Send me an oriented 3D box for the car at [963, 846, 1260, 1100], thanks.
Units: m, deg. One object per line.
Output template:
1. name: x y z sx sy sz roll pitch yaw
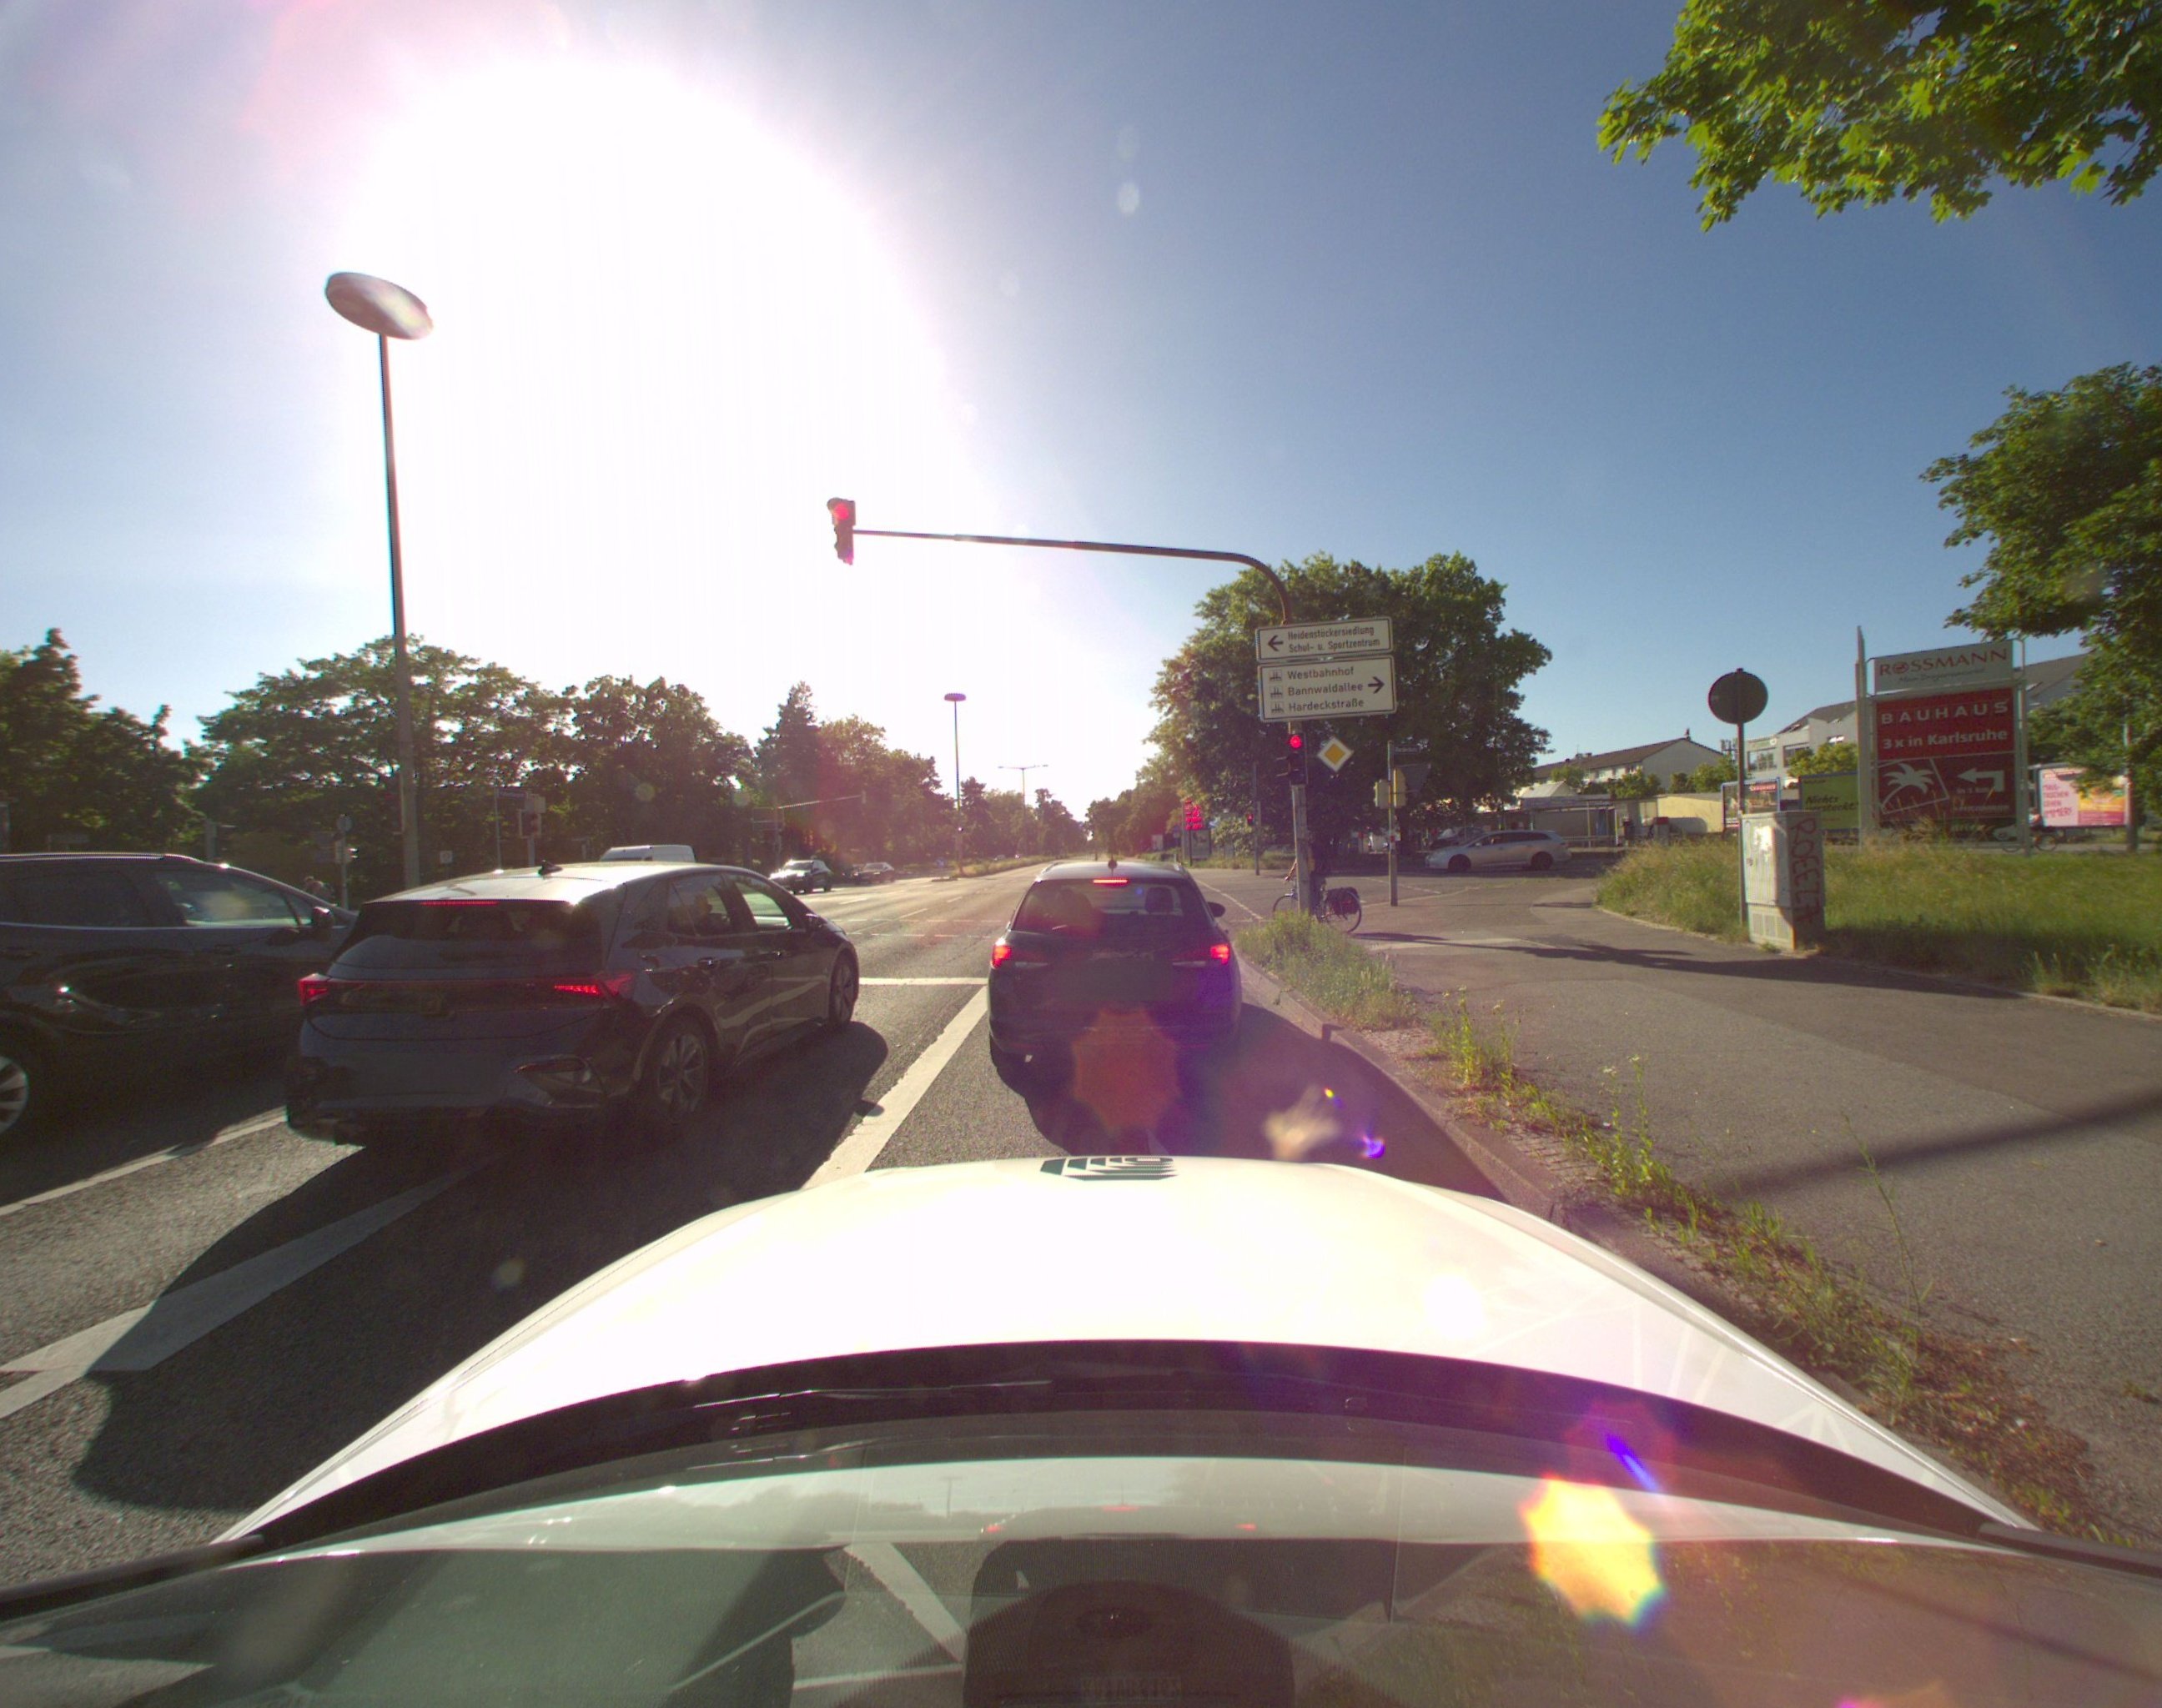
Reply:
1. car: 0.249 0.723 6.969 1.750 1.495 4.208 -1 0 2

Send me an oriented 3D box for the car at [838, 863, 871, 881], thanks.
1. car: -17.621 1.412 63.534 1.384 1.235 3.637 -3 0 2

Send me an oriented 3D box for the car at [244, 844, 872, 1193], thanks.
1. car: -2.960 0.770 5.861 1.678 1.580 4.208 -1 0 2

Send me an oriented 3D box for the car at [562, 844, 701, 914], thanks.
1. car: -18.059 0.927 33.176 2.092 2.492 6.006 -3 0 2

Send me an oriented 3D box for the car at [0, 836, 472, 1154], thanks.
1. car: -6.620 0.785 5.524 1.798 1.689 4.002 -3 0 2

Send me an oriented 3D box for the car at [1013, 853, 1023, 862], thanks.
1. car: -14.502 0.762 187.644 1.986 2.013 4.001 -3 0 1

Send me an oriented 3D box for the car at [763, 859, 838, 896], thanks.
1. car: -14.114 1.145 41.318 1.986 1.601 4.617 -3 0 2

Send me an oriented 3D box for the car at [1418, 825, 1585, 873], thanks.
1. car: 14.964 -0.171 29.298 4.969 1.486 2.007 -2 0 13

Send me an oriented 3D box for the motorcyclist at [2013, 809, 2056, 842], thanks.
1. motorcyclist: 35.720 -1.050 30.521 0.762 1.176 0.657 -3 0 12

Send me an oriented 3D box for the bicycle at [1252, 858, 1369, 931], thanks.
1. bicycle: 3.731 0.685 13.377 0.541 1.097 1.755 -3 -2 -42

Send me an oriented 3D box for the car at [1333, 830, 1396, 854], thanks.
1. car: 19.663 -0.828 56.437 3.903 1.517 1.733 -3 0 -21

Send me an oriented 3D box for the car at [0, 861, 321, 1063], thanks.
1. car: -10.224 0.985 7.926 1.824 1.702 3.999 -3 0 0

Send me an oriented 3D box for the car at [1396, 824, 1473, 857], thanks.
1. car: 21.417 -0.835 49.386 4.003 1.749 1.985 -3 0 -22

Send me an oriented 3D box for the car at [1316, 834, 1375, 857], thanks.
1. car: 19.328 -0.621 59.529 3.903 1.517 1.733 -3 0 -21

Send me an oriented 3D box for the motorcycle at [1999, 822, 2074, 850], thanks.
1. motorcycle: 35.780 -0.667 30.508 1.773 0.937 0.657 -3 0 12

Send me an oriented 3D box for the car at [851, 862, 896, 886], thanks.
1. car: -14.032 1.316 55.296 1.769 1.463 4.166 -3 0 2

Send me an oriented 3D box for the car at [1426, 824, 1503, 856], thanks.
1. car: 22.378 -0.820 47.530 4.002 1.680 1.733 -3 0 -21

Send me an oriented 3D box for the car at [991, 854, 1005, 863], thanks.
1. car: -15.734 0.915 154.684 1.986 1.530 4.001 -3 0 1

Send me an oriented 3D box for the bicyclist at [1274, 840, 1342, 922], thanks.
1. bicyclist: 3.718 0.447 13.380 0.541 1.277 0.819 -3 -2 -42
